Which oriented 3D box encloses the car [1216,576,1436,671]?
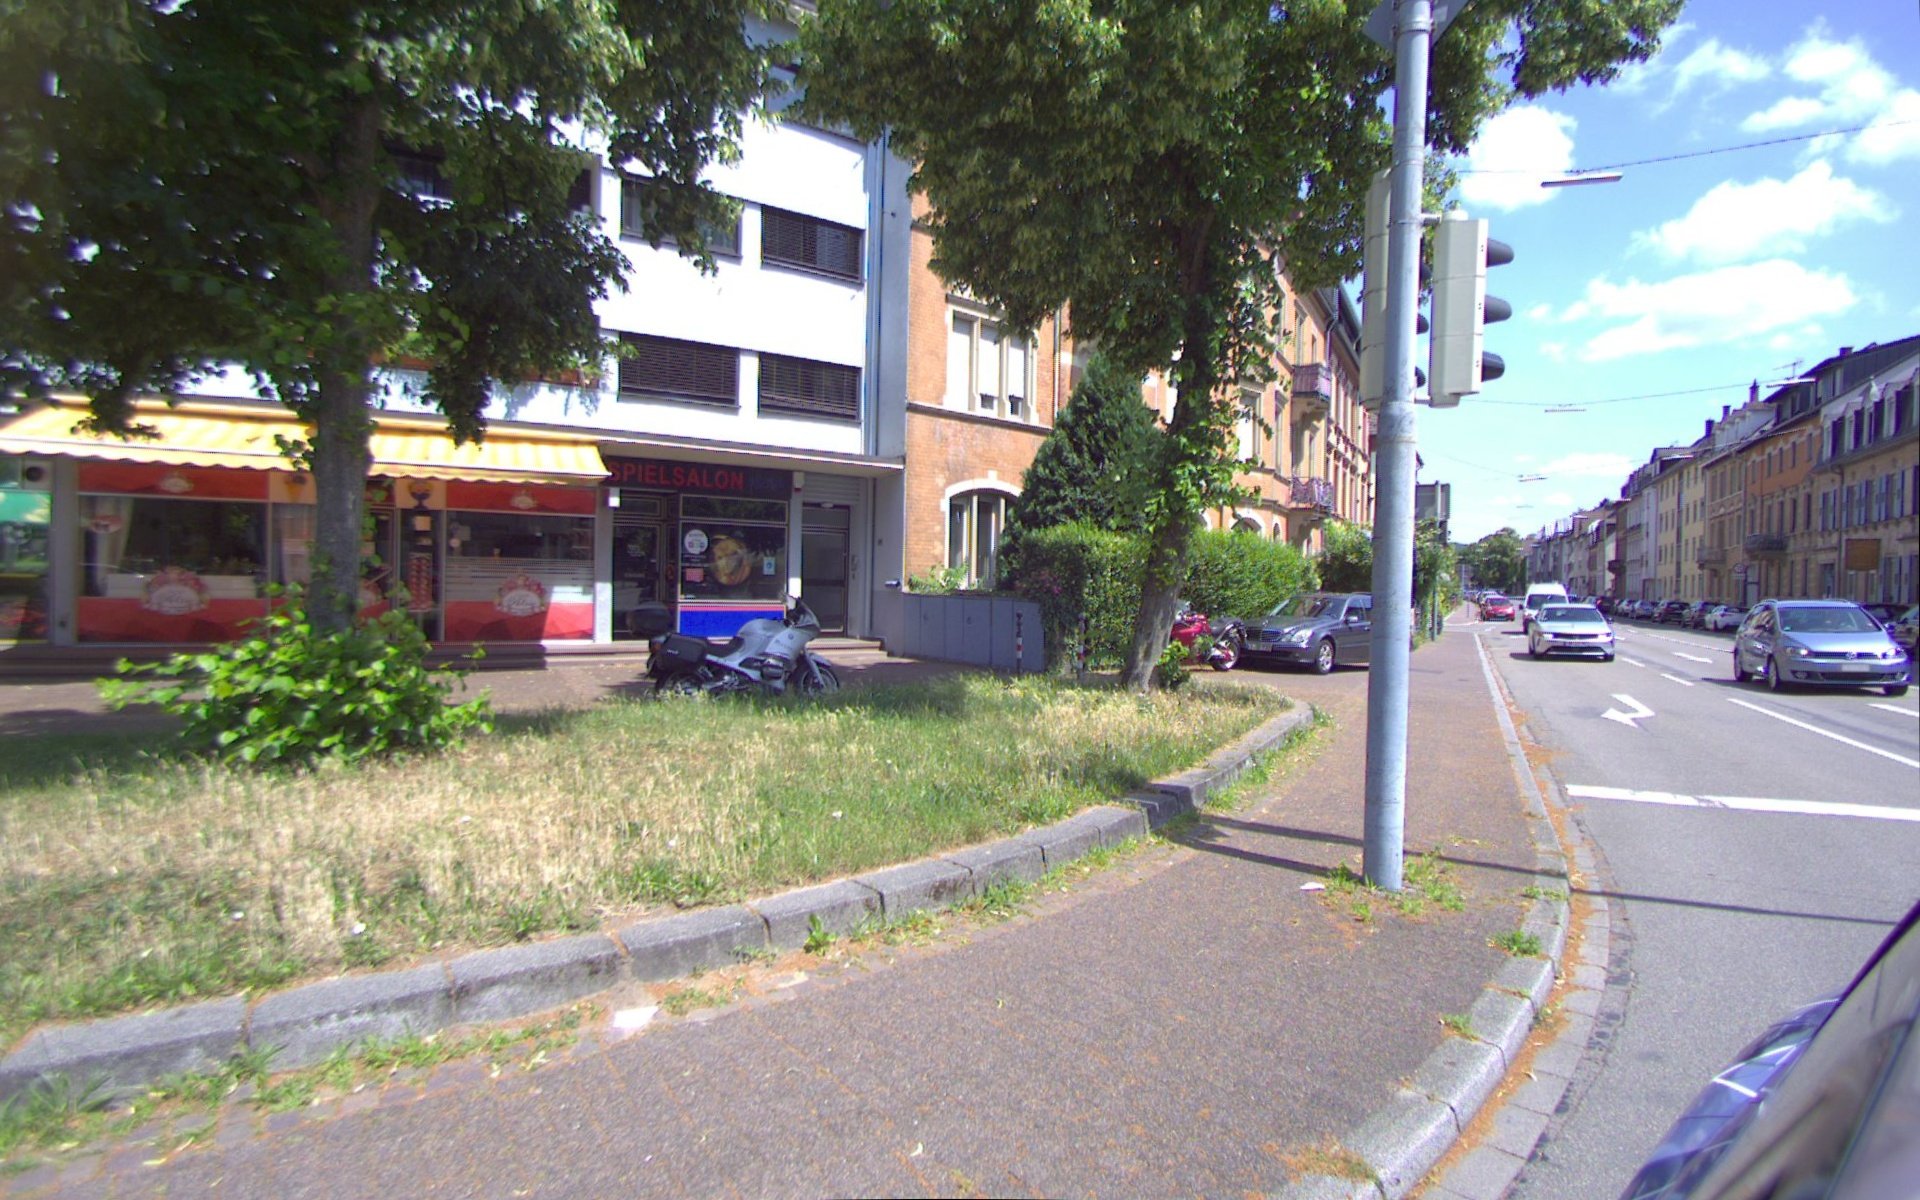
[{"bbox_3d":[7.150,0.437,19.464,5.068,1.568,1.837,2,0,-43],"label":"car"}]

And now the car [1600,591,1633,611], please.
[{"bbox_3d":[59.396,0.091,91.547,1.745,1.607,3.891,6,3,43],"label":"car"}]

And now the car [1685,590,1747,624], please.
[{"bbox_3d":[42.579,0.351,57.084,1.853,1.647,4.461,5,3,25],"label":"car"}]

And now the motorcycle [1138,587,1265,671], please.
[{"bbox_3d":[4.097,0.480,17.087,2.241,1.319,0.932,2,0,-41],"label":"motorcycle"}]

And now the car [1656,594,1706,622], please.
[{"bbox_3d":[47.789,0.505,67.142,1.853,1.570,4.461,5,3,25],"label":"car"}]

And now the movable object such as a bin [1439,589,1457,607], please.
[{"bbox_3d":[38.739,-0.171,80.336,1.275,1.413,1.351,2,1,28],"label":"movable object such as a bin"}]

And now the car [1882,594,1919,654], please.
[{"bbox_3d":[28.038,0.727,28.394,1.872,1.661,4.622,3,2,25],"label":"car"}]

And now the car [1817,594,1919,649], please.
[{"bbox_3d":[30.826,0.668,34.114,1.873,1.661,4.771,3,2,27],"label":"car"}]

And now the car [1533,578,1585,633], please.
[{"bbox_3d":[26.706,0.178,45.240,1.890,2.303,5.612,1,1,30],"label":"car"}]

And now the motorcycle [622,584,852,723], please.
[{"bbox_3d":[-2.323,0.503,10.650,2.182,1.329,0.918,0,0,-34],"label":"motorcycle"}]

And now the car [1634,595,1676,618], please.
[{"bbox_3d":[51.737,0.445,75.379,1.894,1.469,4.642,5,3,27],"label":"car"}]

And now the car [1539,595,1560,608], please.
[{"bbox_3d":[71.275,0.195,122.370,1.748,1.513,4.208,2,1,26],"label":"car"}]

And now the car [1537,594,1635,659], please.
[{"bbox_3d":[16.399,0.616,26.700,1.889,1.516,4.443,1,1,28],"label":"car"}]

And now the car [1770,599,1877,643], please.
[{"bbox_3d":[34.207,0.772,40.264,1.852,1.423,4.798,5,3,24],"label":"car"}]

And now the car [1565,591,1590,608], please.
[{"bbox_3d":[57.935,-0.062,94.963,1.691,1.594,4.271,2,1,27],"label":"car"}]

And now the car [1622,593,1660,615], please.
[{"bbox_3d":[54.536,0.314,81.079,1.854,1.570,4.274,5,3,27],"label":"car"}]

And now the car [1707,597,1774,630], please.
[{"bbox_3d":[40.432,0.665,52.539,1.854,1.443,4.291,5,3,26],"label":"car"}]

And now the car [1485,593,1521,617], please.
[{"bbox_3d":[35.374,0.288,65.955,1.744,1.497,3.752,-1,0,24],"label":"car"}]

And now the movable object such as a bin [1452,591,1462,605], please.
[{"bbox_3d":[46.202,-0.214,94.091,0.746,1.257,0.869,2,1,26],"label":"movable object such as a bin"}]

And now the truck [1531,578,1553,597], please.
[{"bbox_3d":[90.467,-1.923,157.343,2.302,2.775,7.996,2,1,26],"label":"truck"}]

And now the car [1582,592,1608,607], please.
[{"bbox_3d":[70.460,-0.108,112.388,1.732,1.428,4.071,5,3,24],"label":"car"}]

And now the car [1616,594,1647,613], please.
[{"bbox_3d":[56.735,0.297,85.578,1.735,1.428,3.877,5,3,28],"label":"car"}]

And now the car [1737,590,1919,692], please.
[{"bbox_3d":[15.233,0.623,17.843,1.743,1.588,3.962,0,1,27],"label":"car"}]
